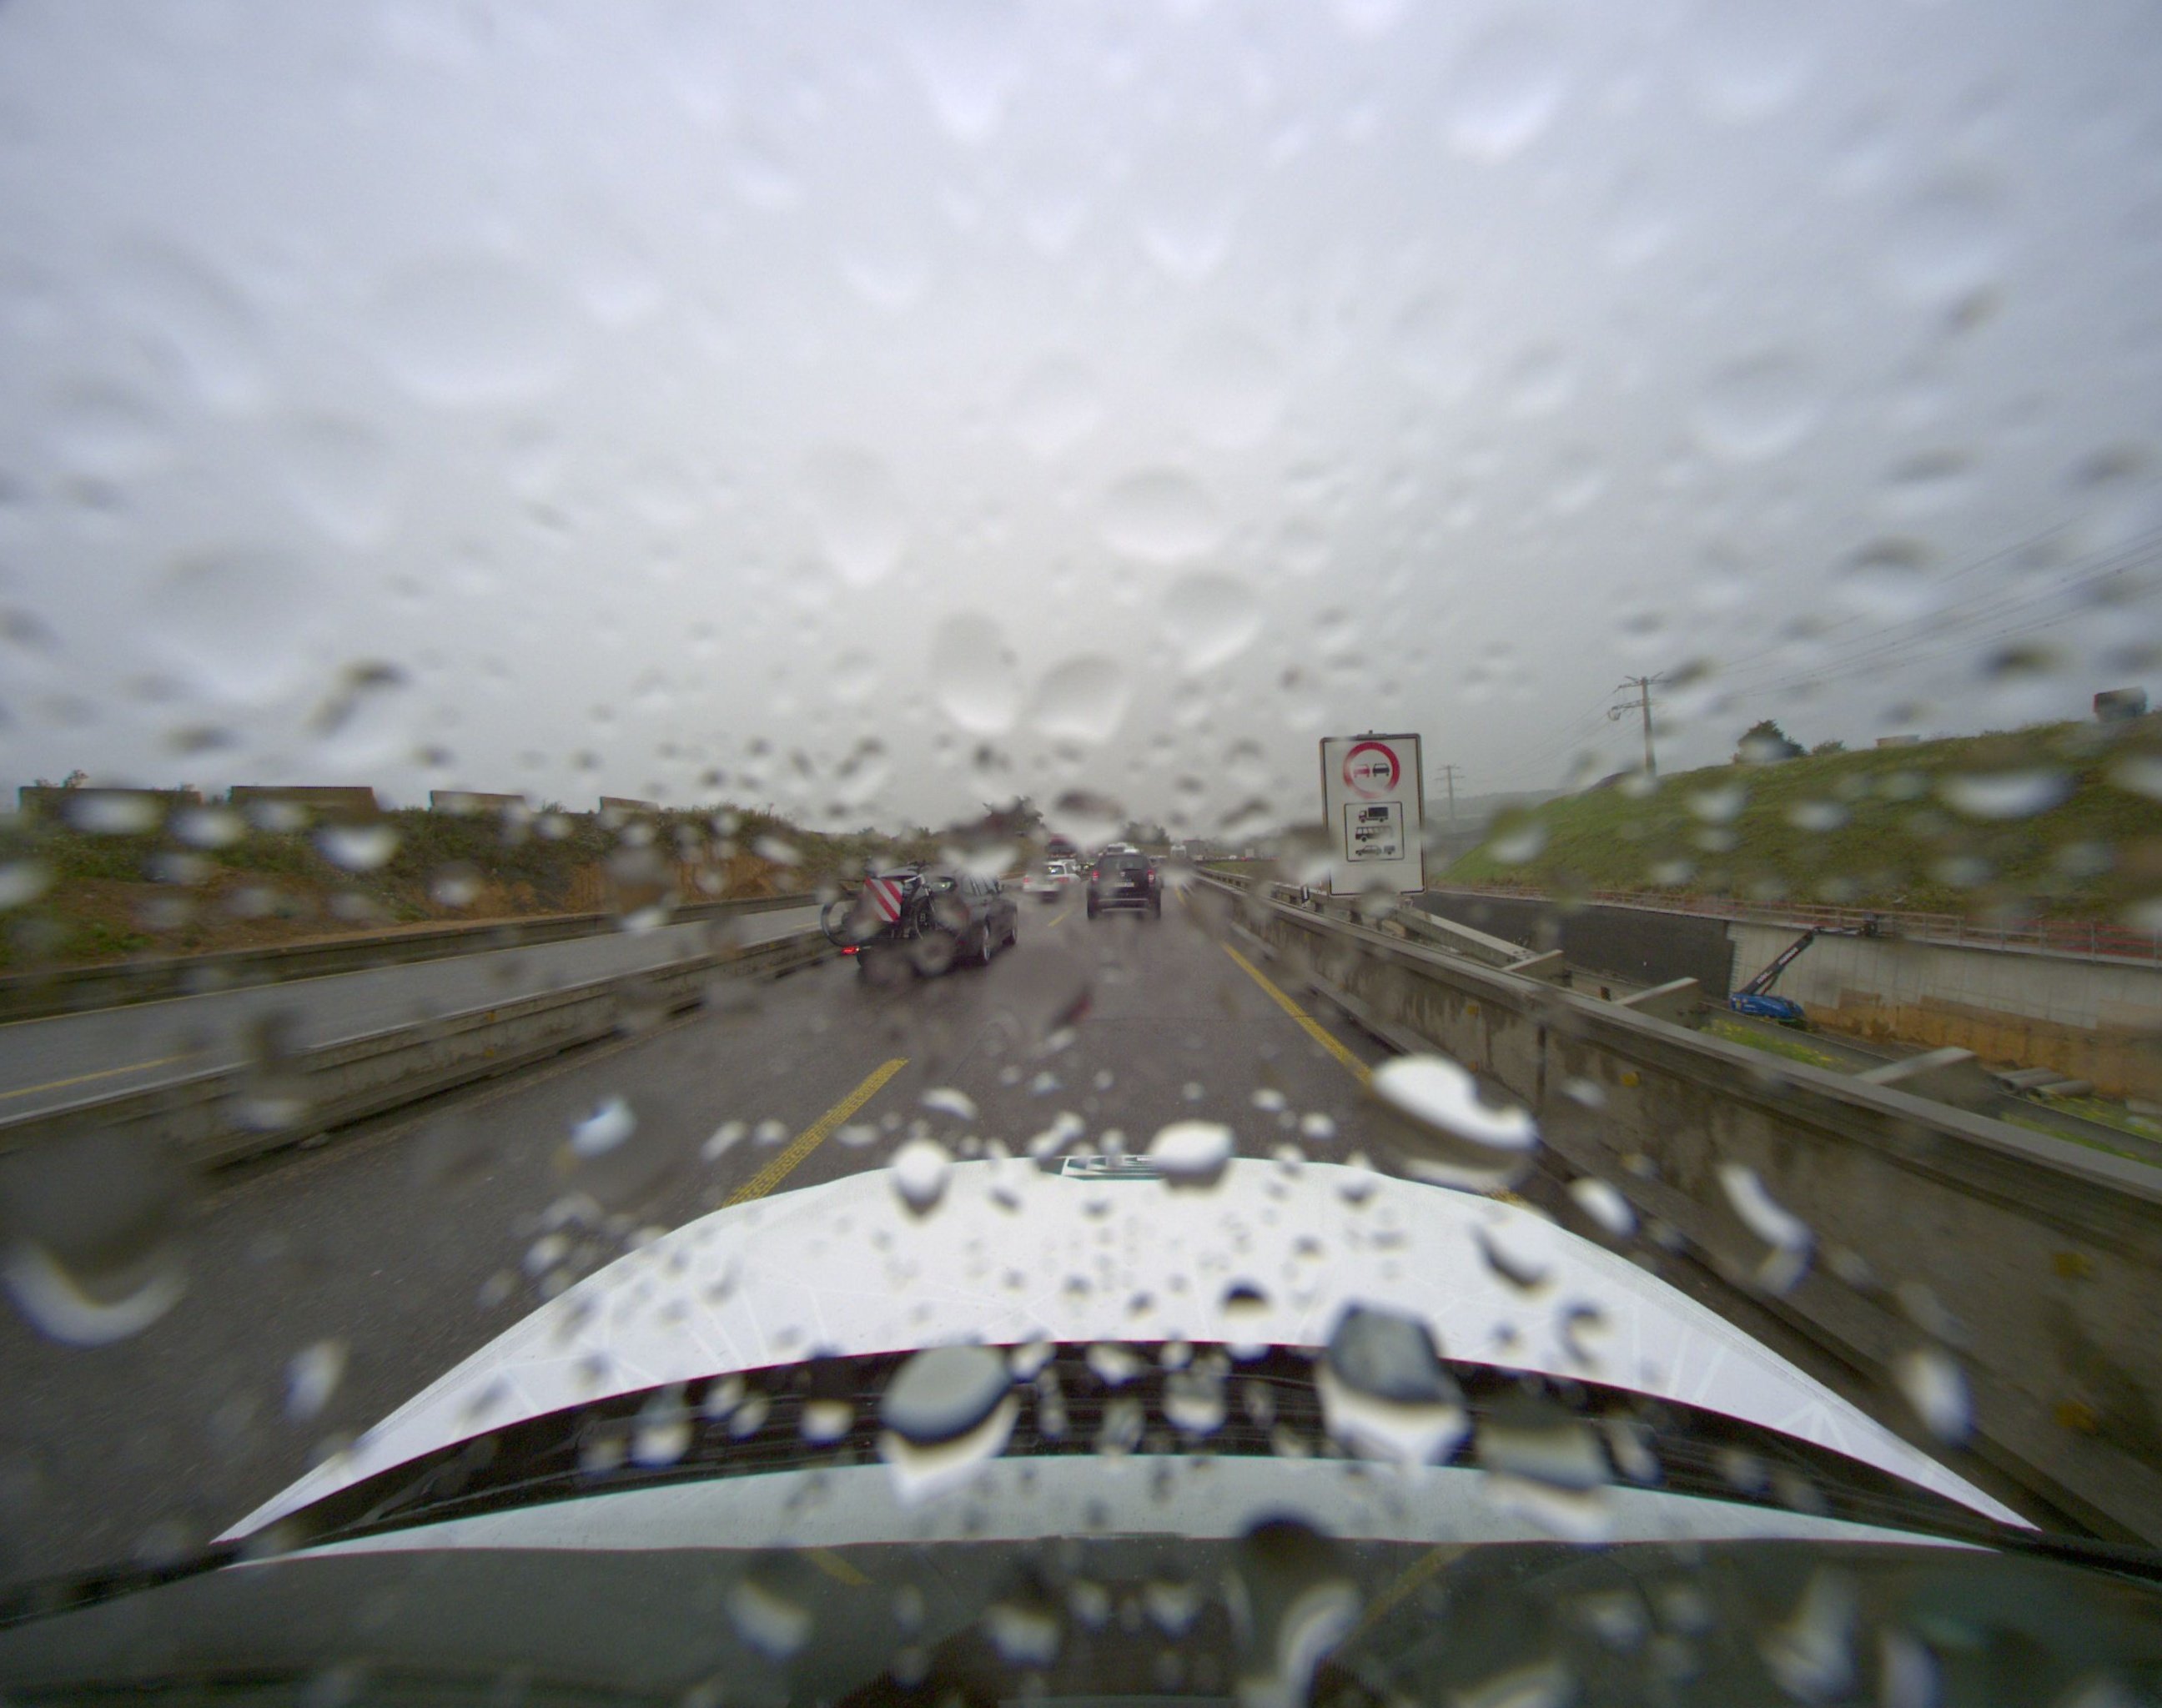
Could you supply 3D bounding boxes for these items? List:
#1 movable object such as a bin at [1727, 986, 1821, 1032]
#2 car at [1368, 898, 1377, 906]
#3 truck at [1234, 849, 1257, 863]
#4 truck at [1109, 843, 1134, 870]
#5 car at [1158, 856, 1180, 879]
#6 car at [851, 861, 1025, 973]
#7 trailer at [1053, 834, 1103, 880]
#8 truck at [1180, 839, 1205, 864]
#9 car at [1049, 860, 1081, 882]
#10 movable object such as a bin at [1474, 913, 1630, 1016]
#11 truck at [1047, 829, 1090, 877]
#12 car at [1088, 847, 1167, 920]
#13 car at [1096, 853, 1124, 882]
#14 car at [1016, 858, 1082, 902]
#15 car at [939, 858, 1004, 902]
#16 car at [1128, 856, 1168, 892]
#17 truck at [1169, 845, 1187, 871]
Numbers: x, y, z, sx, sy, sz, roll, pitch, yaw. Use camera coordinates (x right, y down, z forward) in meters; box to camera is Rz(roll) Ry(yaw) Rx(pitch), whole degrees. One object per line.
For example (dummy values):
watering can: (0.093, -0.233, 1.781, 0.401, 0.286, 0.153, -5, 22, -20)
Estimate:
movable object such as a bin: (38.103, 8.519, 44.902, 2.506, 1.911, 3.259, 1, -1, 3)
car: (79.054, 12.964, 220.798, 1.978, 1.816, 4.017, -2, -1, 17)
truck: (49.198, 0.591, 242.768, 4.679, 4.150, 15.756, -1, 0, 18)
truck: (6.071, 0.392, 121.070, 3.215, 3.956, 5.890, -2, -1, 6)
car: (6.623, 0.977, 61.012, 1.522, 1.640, 4.022, -1, 0, 8)
car: (-2.082, 0.881, 12.978, 1.820, 1.476, 3.780, -2, -1, 4)
trailer: (-0.087, 0.250, 88.729, 2.978, 4.421, 15.738, -3, 0, 8)
truck: (17.921, -0.349, 130.504, 3.179, 3.761, 8.537, -1, 0, 12)
car: (-1.125, 1.204, 59.479, 1.735, 1.502, 4.641, -1, 0, 5)
movable object such as a bin: (30.878, 6.988, 54.485, 4.865, 5.671, 12.116, 0, -3, 8)
truck: (-1.171, -0.080, 81.223, 2.963, 4.409, 6.946, -3, 0, 8)
car: (1.117, 0.721, 20.892, 1.798, 1.646, 3.776, -2, -1, 1)
car: (2.034, 0.882, 55.575, 1.652, 1.880, 4.026, -1, 0, 5)
car: (-1.078, 0.876, 29.453, 1.859, 1.460, 4.553, -1, 0, 4)
car: (-3.997, 0.924, 30.289, 1.642, 1.502, 3.833, -1, 0, 4)
car: (3.330, 0.951, 40.613, 1.859, 1.708, 4.005, -1, 0, 4)
truck: (12.509, 0.500, 104.940, 2.138, 3.166, 6.472, -1, 0, 7)
